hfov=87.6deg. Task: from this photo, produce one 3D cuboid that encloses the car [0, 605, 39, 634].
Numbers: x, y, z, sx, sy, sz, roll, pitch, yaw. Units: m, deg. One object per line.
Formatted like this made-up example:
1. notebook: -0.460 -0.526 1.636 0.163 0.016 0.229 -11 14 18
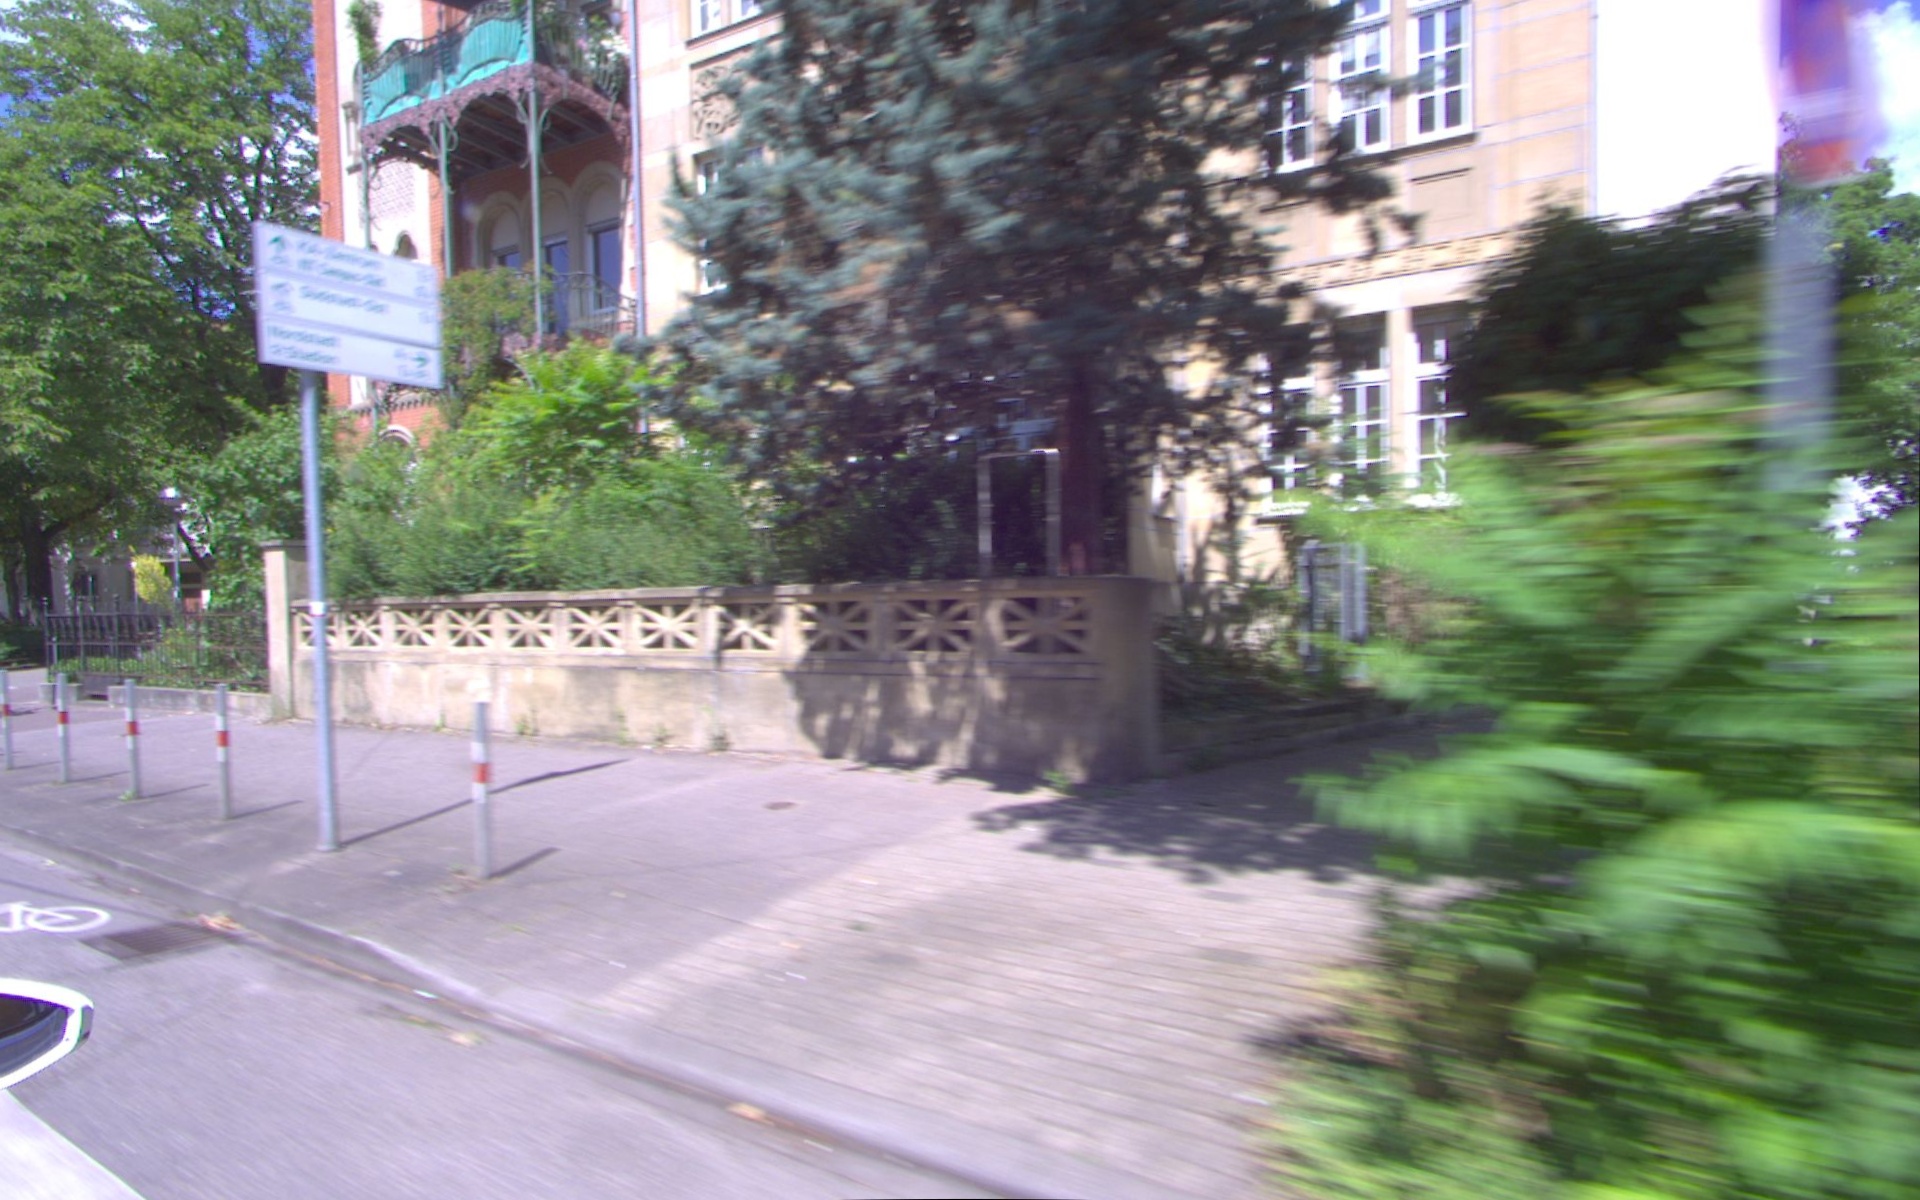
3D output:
1. car: -46.370 0.946 47.126 4.255 1.346 1.791 -1 1 -4
